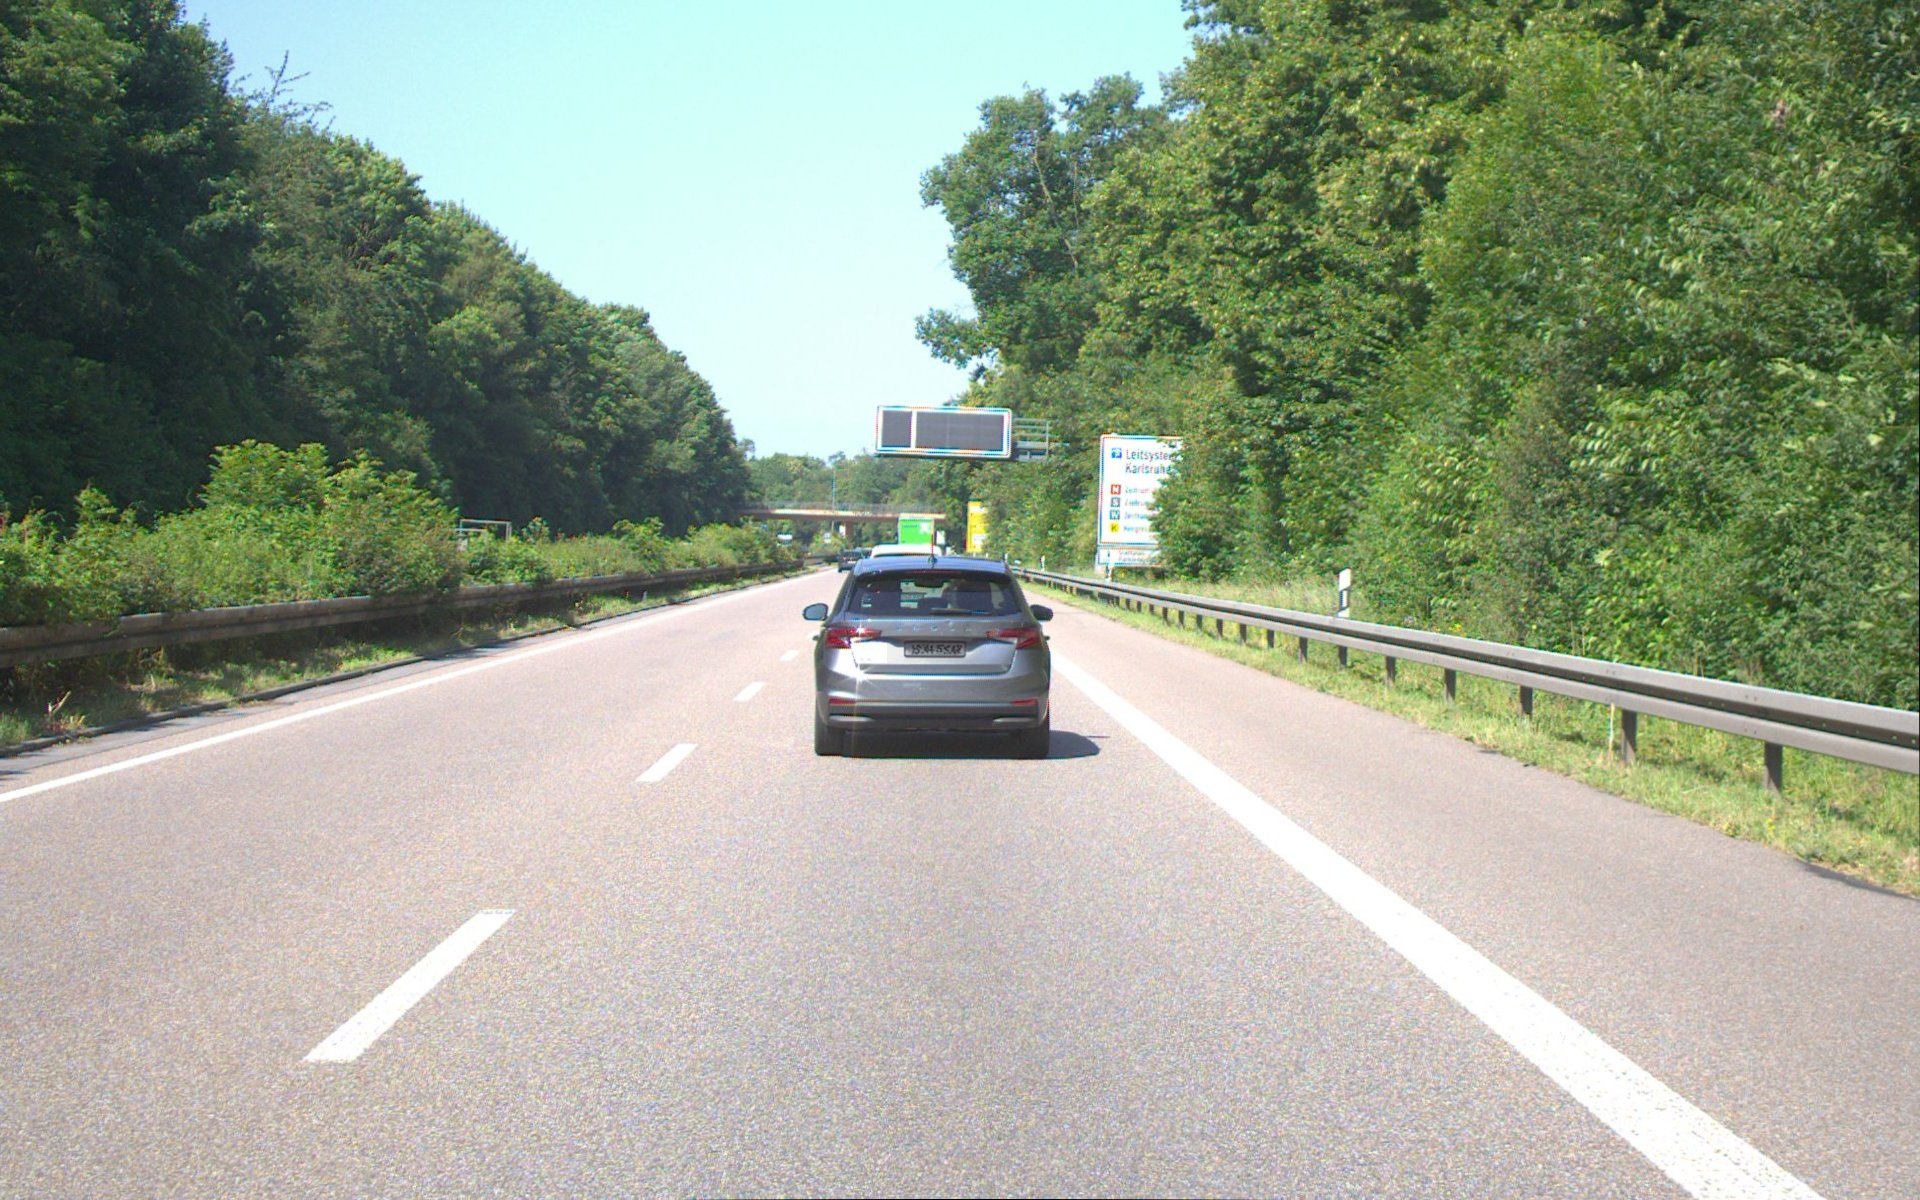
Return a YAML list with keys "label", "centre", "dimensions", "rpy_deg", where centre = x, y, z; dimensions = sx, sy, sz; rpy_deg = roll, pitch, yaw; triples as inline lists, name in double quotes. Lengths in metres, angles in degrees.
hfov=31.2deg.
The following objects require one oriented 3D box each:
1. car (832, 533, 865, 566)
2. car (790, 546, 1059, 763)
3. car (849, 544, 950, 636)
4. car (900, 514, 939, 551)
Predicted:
- label: "car"
  centre: [-7.154, -3.236, 220.985]
  dimensions: [1.993, 2.007, 4.000]
  rpy_deg: [1, 0, 0]
- label: "car"
  centre: [-0.214, 0.348, 25.647]
  dimensions: [1.840, 1.467, 3.623]
  rpy_deg: [1, 1, 1]
- label: "car"
  centre: [-0.974, -0.189, 56.760]
  dimensions: [1.522, 1.442, 3.340]
  rpy_deg: [1, 1, 1]
- label: "car"
  centre: [-2.963, -4.955, 252.018]
  dimensions: [2.748, 2.645, 4.000]
  rpy_deg: [1, 0, 0]
